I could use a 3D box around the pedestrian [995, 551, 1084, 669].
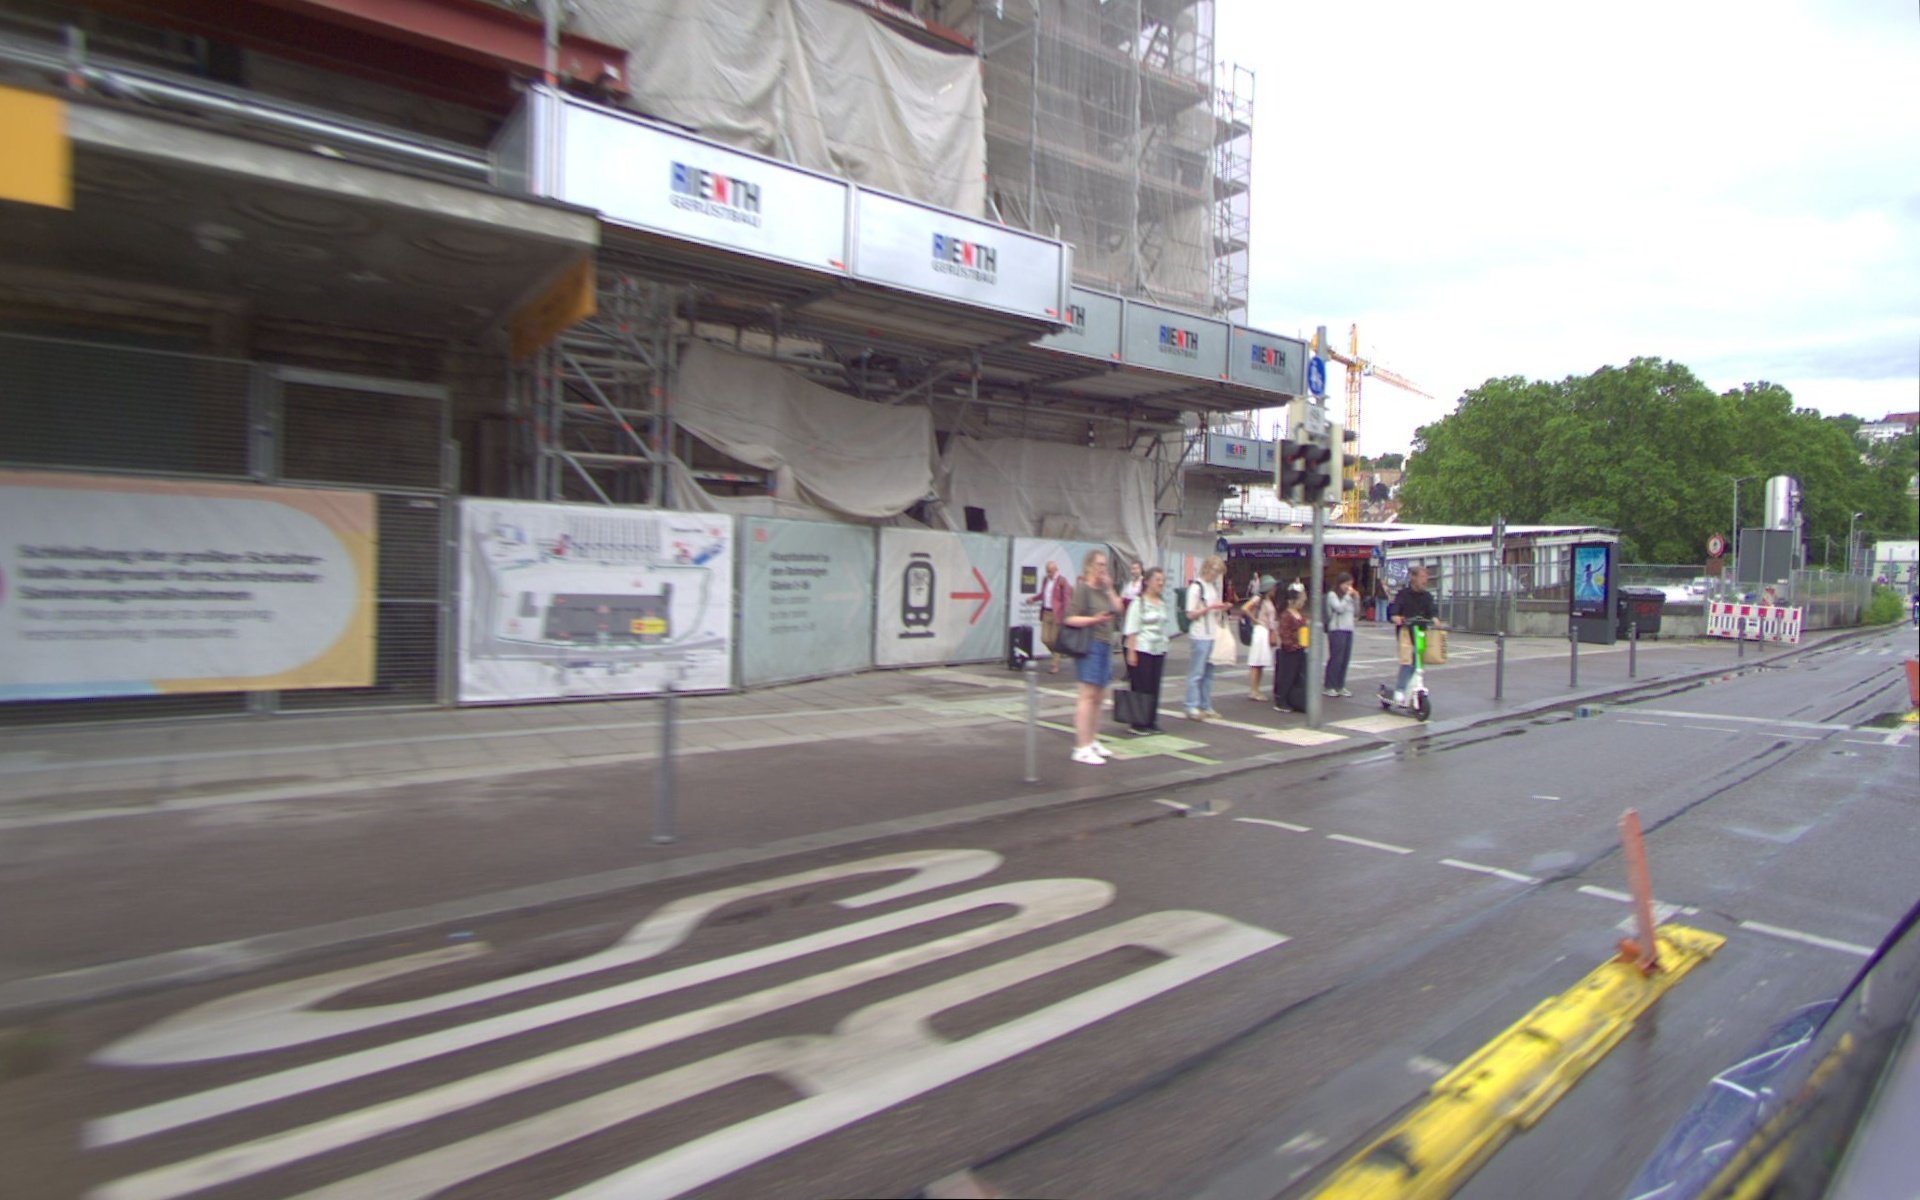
[{"bbox_3d":[1.195,0.137,15.187,1.088,1.703,0.735,0,1,-35],"label":"pedestrian"}]

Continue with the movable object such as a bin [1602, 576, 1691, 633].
[{"bbox_3d":[19.107,0.118,28.202,1.502,1.510,1.305,1,2,-9],"label":"movable object such as a bin"}]

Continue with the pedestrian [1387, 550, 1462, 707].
[{"bbox_3d":[5.425,0.308,11.852,0.572,1.762,0.820,1,1,10],"label":"pedestrian"}]

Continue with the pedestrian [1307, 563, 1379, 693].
[{"bbox_3d":[5.114,0.359,13.519,0.603,1.670,0.560,0,4,-36],"label":"pedestrian"}]

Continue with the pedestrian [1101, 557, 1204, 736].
[{"bbox_3d":[1.884,0.428,9.933,0.738,1.660,0.560,0,4,-36],"label":"pedestrian"}]

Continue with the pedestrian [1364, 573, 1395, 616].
[{"bbox_3d":[15.886,-0.208,38.307,0.854,1.613,0.698,-1,0,45],"label":"pedestrian"}]

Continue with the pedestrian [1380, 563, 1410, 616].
[{"bbox_3d":[16.776,-0.396,39.017,0.804,2.039,0.753,-1,0,45],"label":"pedestrian"}]

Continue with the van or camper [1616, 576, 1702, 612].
[{"bbox_3d":[50.766,-0.484,73.672,2.344,2.431,6.055,2,1,5],"label":"van or camper"}]

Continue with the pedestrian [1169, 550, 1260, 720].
[{"bbox_3d":[2.773,0.359,11.029,0.698,1.773,0.560,0,4,-36],"label":"pedestrian"}]

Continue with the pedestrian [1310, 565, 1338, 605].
[{"bbox_3d":[16.996,-0.710,47.320,0.757,1.816,0.951,0,2,-41],"label":"pedestrian"}]

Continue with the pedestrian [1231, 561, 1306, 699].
[{"bbox_3d":[3.881,0.359,12.740,0.602,1.670,0.567,1,3,-33],"label":"pedestrian"}]

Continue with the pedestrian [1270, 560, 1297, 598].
[{"bbox_3d":[15.561,-0.999,48.621,0.757,1.816,0.951,0,2,-41],"label":"pedestrian"}]

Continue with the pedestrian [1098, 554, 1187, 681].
[{"bbox_3d":[2.585,0.225,14.346,0.940,1.697,0.738,0,4,-38],"label":"pedestrian"}]

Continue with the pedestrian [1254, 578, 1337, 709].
[{"bbox_3d":[3.964,0.495,11.972,0.698,1.466,0.560,0,4,-36],"label":"pedestrian"}]

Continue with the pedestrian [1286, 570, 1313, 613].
[{"bbox_3d":[13.407,-0.352,39.934,0.901,1.666,0.700,1,2,14],"label":"pedestrian"}]

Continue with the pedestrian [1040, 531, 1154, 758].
[{"bbox_3d":[1.143,0.338,8.441,0.557,1.780,0.741,5,4,39],"label":"pedestrian"}]

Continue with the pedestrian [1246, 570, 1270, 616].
[{"bbox_3d":[12.526,-0.304,42.559,0.849,1.899,0.639,1,1,14],"label":"pedestrian"}]

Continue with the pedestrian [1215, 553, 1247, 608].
[{"bbox_3d":[10.346,-0.754,38.660,0.917,2.038,0.764,0,2,-41],"label":"pedestrian"}]

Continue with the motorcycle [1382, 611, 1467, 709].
[{"bbox_3d":[5.421,0.670,11.871,0.577,1.034,1.236,1,1,9],"label":"motorcycle"}]
